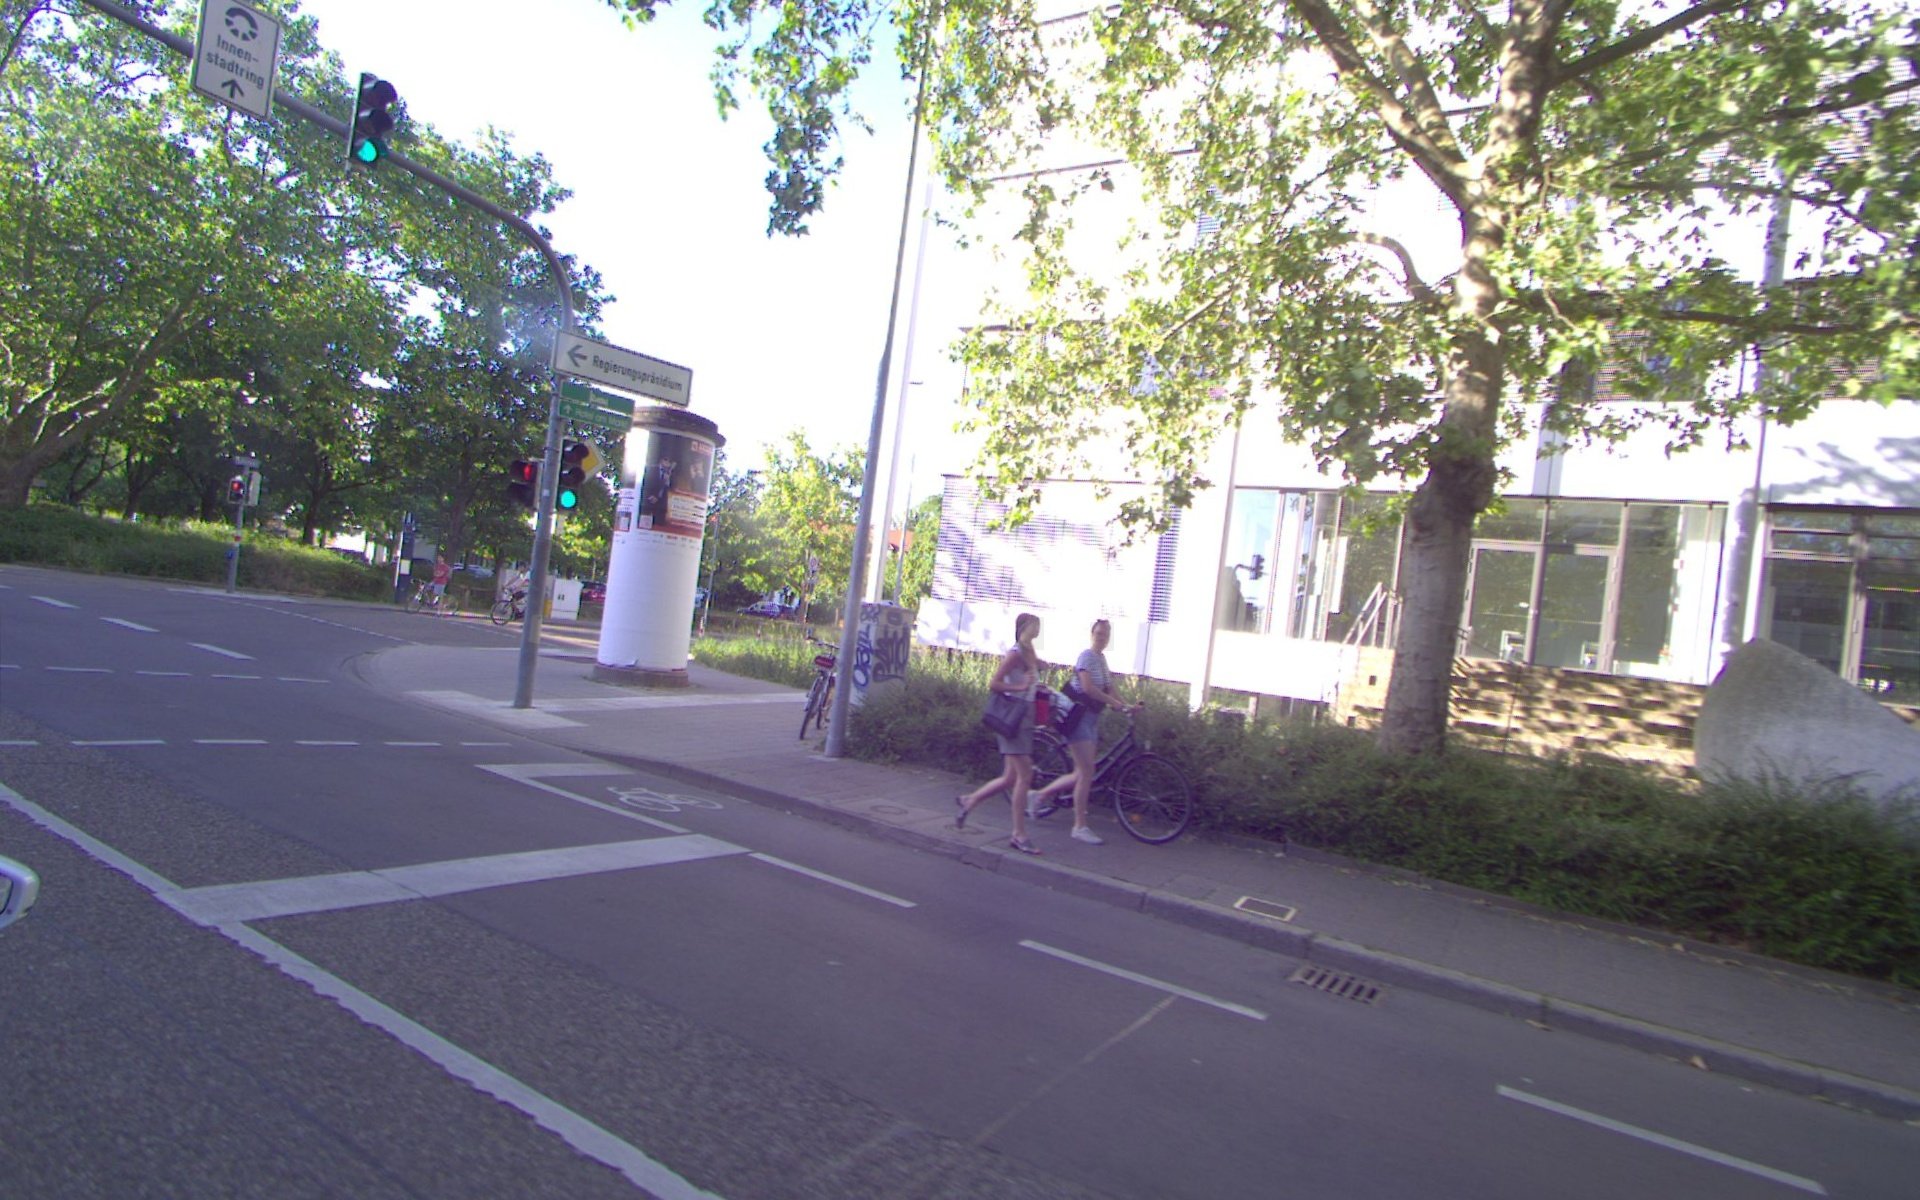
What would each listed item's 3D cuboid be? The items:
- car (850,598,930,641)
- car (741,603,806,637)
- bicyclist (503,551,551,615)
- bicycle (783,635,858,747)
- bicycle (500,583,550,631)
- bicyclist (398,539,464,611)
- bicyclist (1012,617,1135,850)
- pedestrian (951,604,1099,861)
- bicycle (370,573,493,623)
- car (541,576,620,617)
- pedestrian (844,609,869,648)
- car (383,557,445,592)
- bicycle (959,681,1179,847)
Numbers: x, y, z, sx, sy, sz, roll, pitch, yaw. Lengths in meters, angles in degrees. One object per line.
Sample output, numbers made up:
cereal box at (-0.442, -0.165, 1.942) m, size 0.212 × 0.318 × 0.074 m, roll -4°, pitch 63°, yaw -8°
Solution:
car at (-4.464, 1.256, 64.038) m, size 4.484 × 2.138 × 2.000 m, roll 6°, pitch -2°, yaw 25°
car at (-12.859, 1.403, 69.253) m, size 3.933 × 1.800 × 1.998 m, roll 6°, pitch -2°, yaw 31°
bicyclist at (-11.677, -0.462, 27.119) m, size 0.942 × 1.565 × 1.118 m, roll 7°, pitch 1°, yaw -27°
bicycle at (-1.648, 1.043, 12.153) m, size 0.462 × 1.196 × 1.994 m, roll 6°, pitch -2°, yaw 2°
bicycle at (-11.832, 0.174, 27.318) m, size 0.971 × 1.065 × 2.641 m, roll 6°, pitch 0°, yaw -28°
bicyclist at (-14.889, -0.689, 28.338) m, size 0.961 × 1.829 × 1.131 m, roll 6°, pitch -1°, yaw 29°
bicyclist at (0.919, 1.041, 8.096) m, size 0.644 × 1.734 × 0.633 m, roll 5°, pitch -1°, yaw 30°
pedestrian at (0.496, 0.946, 7.503) m, size 0.680 × 1.741 × 0.774 m, roll 5°, pitch 0°, yaw 30°
bicycle at (-14.902, -0.039, 28.487) m, size 0.926 × 1.050 × 3.005 m, roll 6°, pitch -2°, yaw 28°
car at (-21.489, -0.191, 56.950) m, size 3.933 × 1.800 × 1.998 m, roll 6°, pitch -2°, yaw 31°
pedestrian at (-5.203, 1.445, 50.638) m, size 0.655 × 1.876 × 1.026 m, roll 6°, pitch -1°, yaw 19°
car at (-35.349, -1.637, 65.110) m, size 3.941 × 1.800 × 1.994 m, roll 6°, pitch -2°, yaw 38°
bicycle at (0.871, 1.296, 8.219) m, size 1.619 × 1.047 × 0.522 m, roll 6°, pitch -1°, yaw 30°
